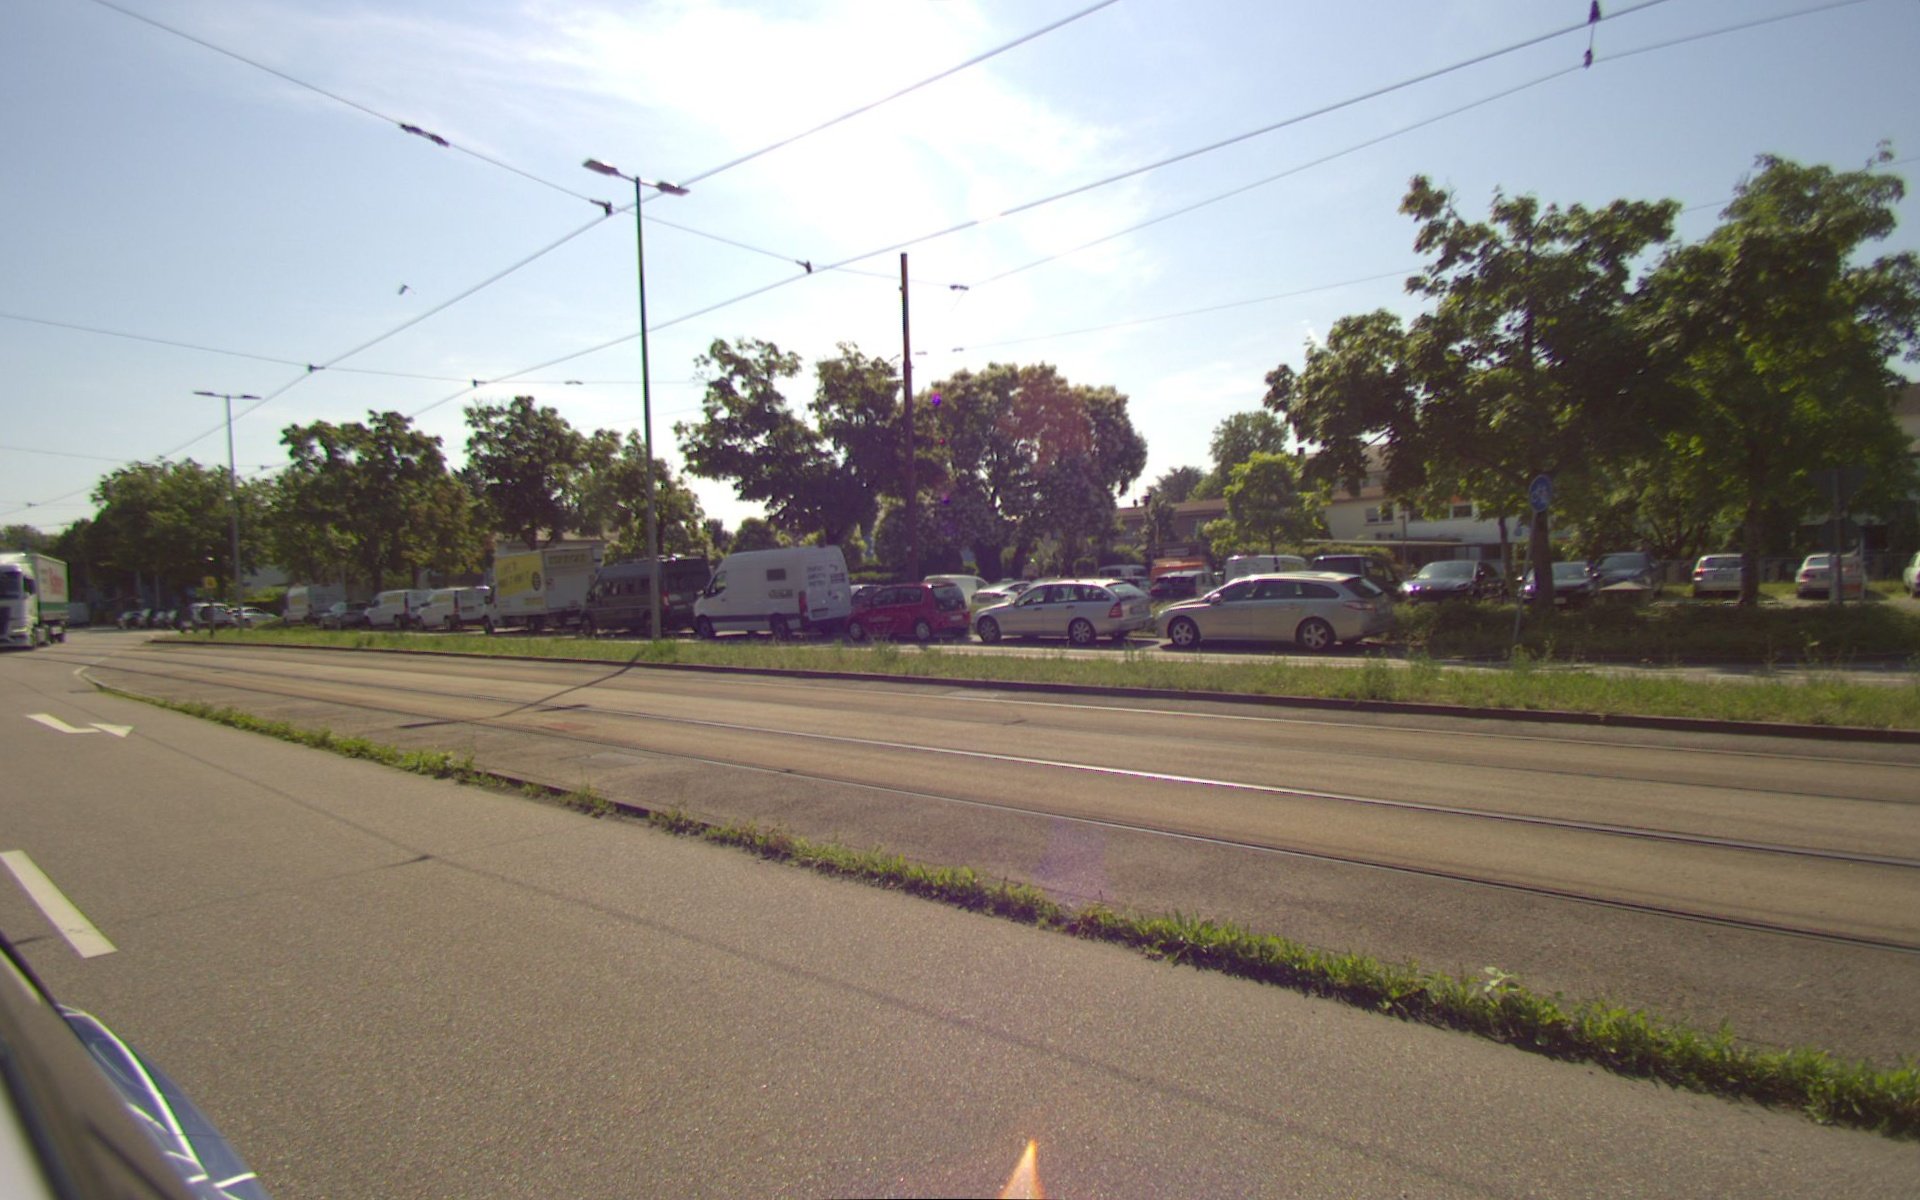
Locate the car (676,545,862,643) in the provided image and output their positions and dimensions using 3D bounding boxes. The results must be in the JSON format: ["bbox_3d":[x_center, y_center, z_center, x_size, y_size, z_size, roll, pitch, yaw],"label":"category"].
[{"bbox_3d":[-5.873,-0.142,30.539,5.976,2.650,2.173,-2,3,42],"label":"car"}]

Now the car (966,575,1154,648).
[{"bbox_3d":[2.235,0.278,23.503,4.349,1.501,1.279,-2,3,41],"label":"car"}]

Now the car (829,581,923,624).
[{"bbox_3d":[-3.559,0.100,43.393,1.662,1.707,3.946,-1,1,40],"label":"car"}]

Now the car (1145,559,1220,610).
[{"bbox_3d":[10.412,-0.750,47.206,1.908,2.216,3.950,-2,1,37],"label":"car"}]

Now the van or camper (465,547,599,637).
[{"bbox_3d":[-17.277,-0.276,40.619,6.771,3.265,2.173,-2,3,43],"label":"van or camper"}]

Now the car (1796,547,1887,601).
[{"bbox_3d":[27.806,-0.828,32.042,1.908,1.545,3.949,-2,1,38],"label":"car"}]

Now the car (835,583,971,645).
[{"bbox_3d":[-1.548,0.366,26.712,3.673,1.501,1.279,-1,1,39],"label":"car"}]

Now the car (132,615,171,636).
[{"bbox_3d":[-67.929,2.134,85.035,4.238,1.625,1.658,-1,1,39],"label":"car"}]

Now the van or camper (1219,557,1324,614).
[{"bbox_3d":[9.522,-0.443,30.762,1.872,1.574,3.952,-1,1,35],"label":"van or camper"}]

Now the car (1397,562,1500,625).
[{"bbox_3d":[13.281,-0.188,27.420,1.661,1.574,3.948,-1,1,39],"label":"car"}]

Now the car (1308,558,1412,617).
[{"bbox_3d":[11.555,-0.363,29.108,1.661,1.574,3.948,-1,1,39],"label":"car"}]

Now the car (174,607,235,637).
[{"bbox_3d":[-42.299,1.244,56.643,4.661,1.609,2.020,-2,-1,44],"label":"car"}]

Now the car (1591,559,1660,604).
[{"bbox_3d":[23.191,-0.674,35.210,1.674,1.435,3.935,-2,1,38],"label":"car"}]

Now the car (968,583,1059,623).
[{"bbox_3d":[2.077,0.088,38.369,1.487,1.381,3.950,-1,1,37],"label":"car"}]

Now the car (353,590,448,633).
[{"bbox_3d":[-28.216,0.598,50.969,5.176,1.955,2.176,-2,2,37],"label":"car"}]

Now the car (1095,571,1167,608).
[{"bbox_3d":[8.344,-0.507,49.139,1.743,1.665,3.950,-2,1,37],"label":"car"}]

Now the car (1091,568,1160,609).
[{"bbox_3d":[8.713,-0.646,53.055,1.908,2.018,3.950,-2,1,37],"label":"car"}]

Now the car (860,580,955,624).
[{"bbox_3d":[-2.145,0.054,42.266,1.662,1.707,3.946,-1,1,40],"label":"car"}]

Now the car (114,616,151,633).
[{"bbox_3d":[-73.395,2.172,89.690,4.453,1.446,1.658,-2,0,39],"label":"car"}]

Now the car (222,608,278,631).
[{"bbox_3d":[-48.604,1.285,69.371,1.767,1.433,4.348,-2,0,-16],"label":"car"}]

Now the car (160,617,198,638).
[{"bbox_3d":[-60.453,2.126,78.303,4.082,1.461,1.598,-2,1,42],"label":"car"}]

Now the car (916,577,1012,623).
[{"bbox_3d":[0.212,-0.009,40.364,1.662,1.707,3.946,-1,1,40],"label":"car"}]

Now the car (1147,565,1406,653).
[{"bbox_3d":[6.129,0.186,19.996,4.617,1.501,1.587,-2,3,43],"label":"car"}]

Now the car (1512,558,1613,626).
[{"bbox_3d":[15.328,-0.225,25.645,1.661,1.574,3.948,-1,1,39],"label":"car"}]

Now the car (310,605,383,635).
[{"bbox_3d":[-33.188,1.067,54.685,4.883,1.465,1.912,-1,2,41],"label":"car"}]

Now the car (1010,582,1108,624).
[{"bbox_3d":[3.609,0.074,36.444,1.658,1.381,3.949,-1,1,38],"label":"car"}]

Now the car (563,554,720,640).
[{"bbox_3d":[-11.143,-0.082,35.144,6.075,2.688,2.174,-1,3,41],"label":"car"}]

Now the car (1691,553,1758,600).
[{"bbox_3d":[25.892,-0.807,34.227,1.674,1.435,3.934,-2,1,39],"label":"car"}]

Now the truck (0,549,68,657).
[{"bbox_3d":[-41.567,0.233,44.047,3.340,4.099,14.312,-4,2,-39],"label":"truck"}]

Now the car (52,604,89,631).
[{"bbox_3d":[-96.751,1.859,110.059,6.083,2.670,1.991,-1,4,41],"label":"car"}]

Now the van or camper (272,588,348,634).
[{"bbox_3d":[-38.104,0.661,59.257,6.146,2.533,2.233,-2,0,43],"label":"van or camper"}]

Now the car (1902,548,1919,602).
[{"bbox_3d":[29.385,-0.785,29.955,1.909,1.545,3.948,-2,1,39],"label":"car"}]

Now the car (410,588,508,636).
[{"bbox_3d":[-22.846,0.552,46.087,5.184,1.955,2.173,-1,3,42],"label":"car"}]

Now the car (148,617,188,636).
[{"bbox_3d":[-63.953,2.163,81.697,4.578,1.405,1.679,-2,1,41],"label":"car"}]

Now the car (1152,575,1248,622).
[{"bbox_3d":[7.697,-0.062,32.233,1.486,1.381,3.950,-1,1,37],"label":"car"}]
